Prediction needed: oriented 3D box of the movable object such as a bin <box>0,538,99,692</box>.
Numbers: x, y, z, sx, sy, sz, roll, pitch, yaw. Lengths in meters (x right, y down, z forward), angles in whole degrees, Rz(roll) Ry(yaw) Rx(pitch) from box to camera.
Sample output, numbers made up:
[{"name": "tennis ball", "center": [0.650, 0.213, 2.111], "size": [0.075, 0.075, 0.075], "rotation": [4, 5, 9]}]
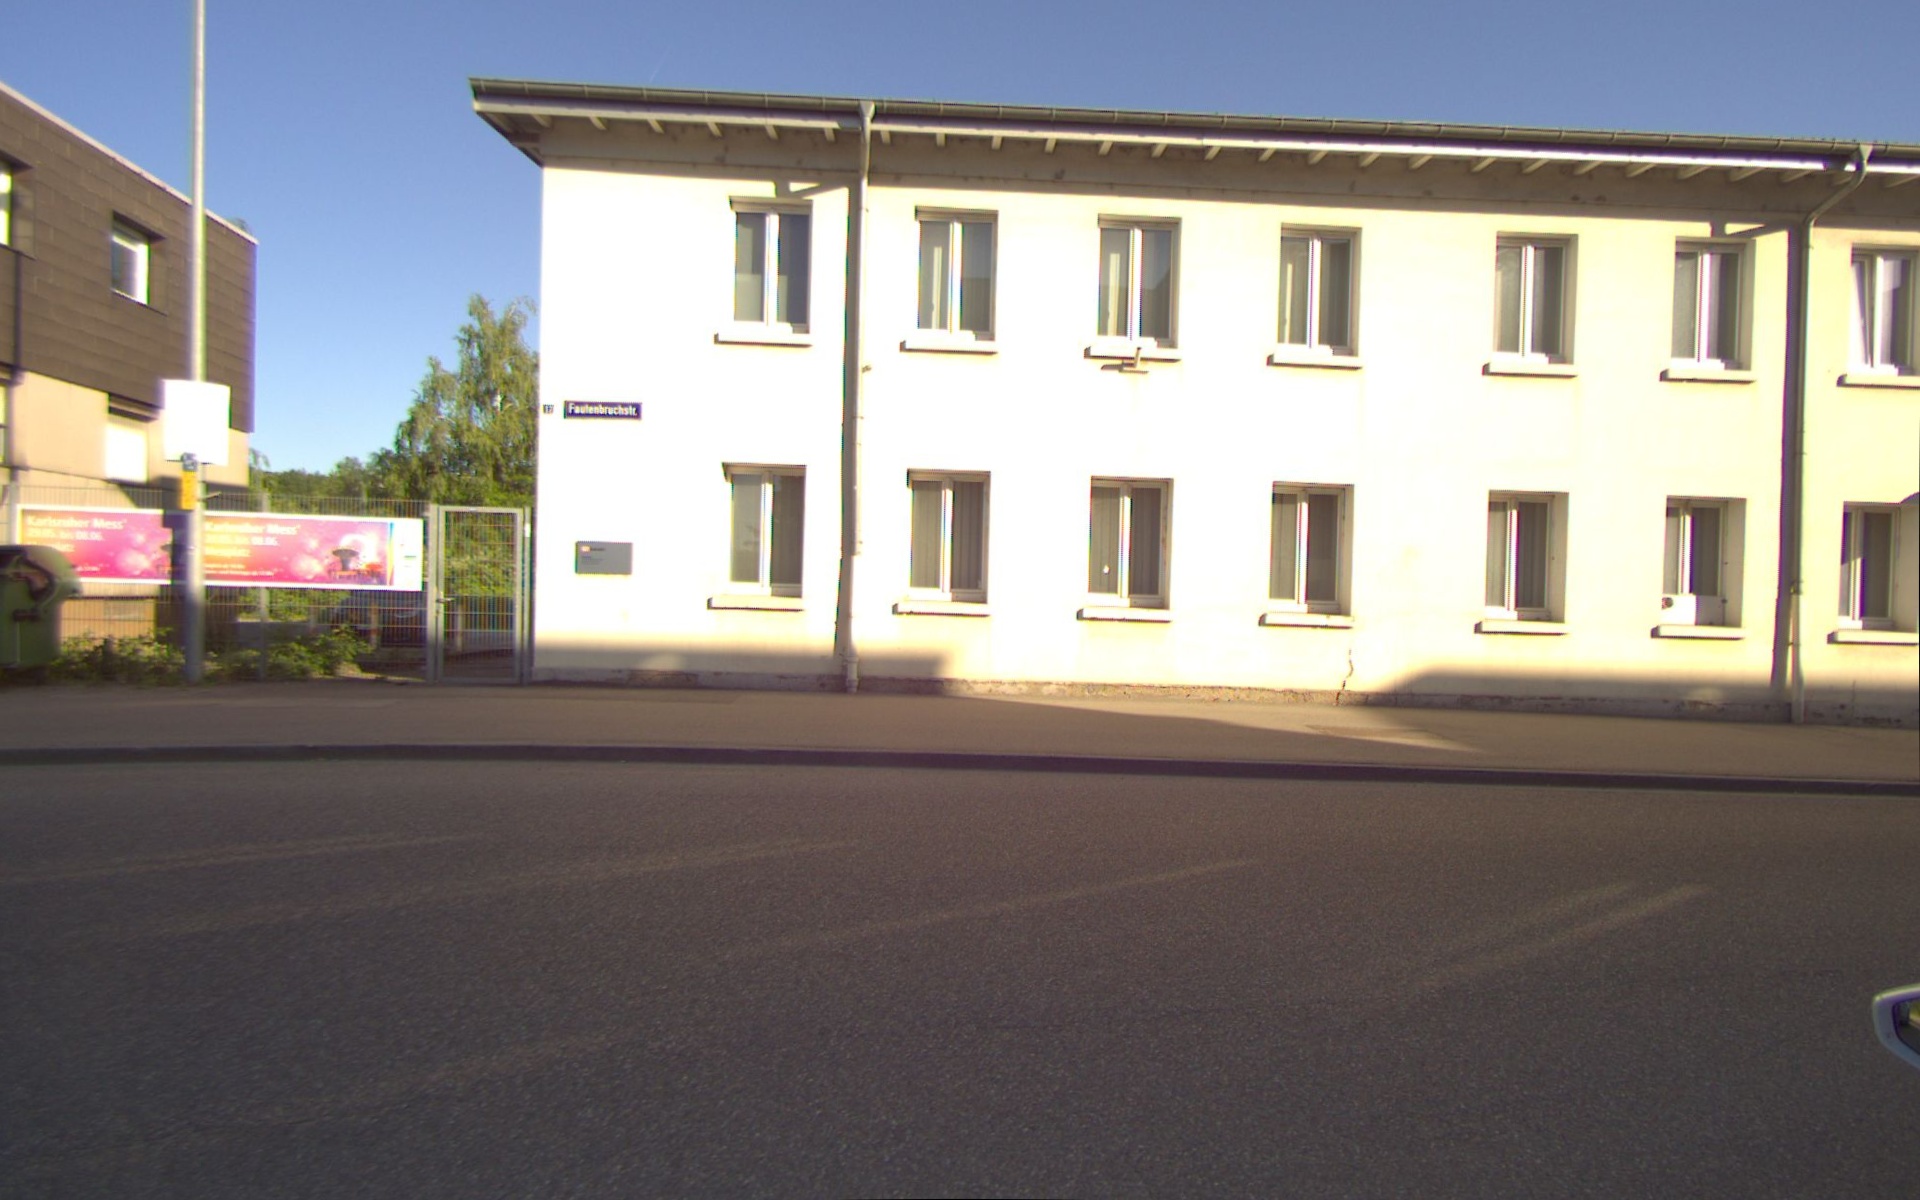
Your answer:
[{"name": "movable object such as a bin", "center": [-9.967, 0.125, 10.254], "size": [1.349, 1.491, 1.199], "rotation": [1, 1, -13]}]

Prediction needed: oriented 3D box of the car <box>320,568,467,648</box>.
[{"name": "car", "center": [-12.933, 0.154, 23.196], "size": [1.967, 1.639, 3.987], "rotation": [2, 0, -15]}]
